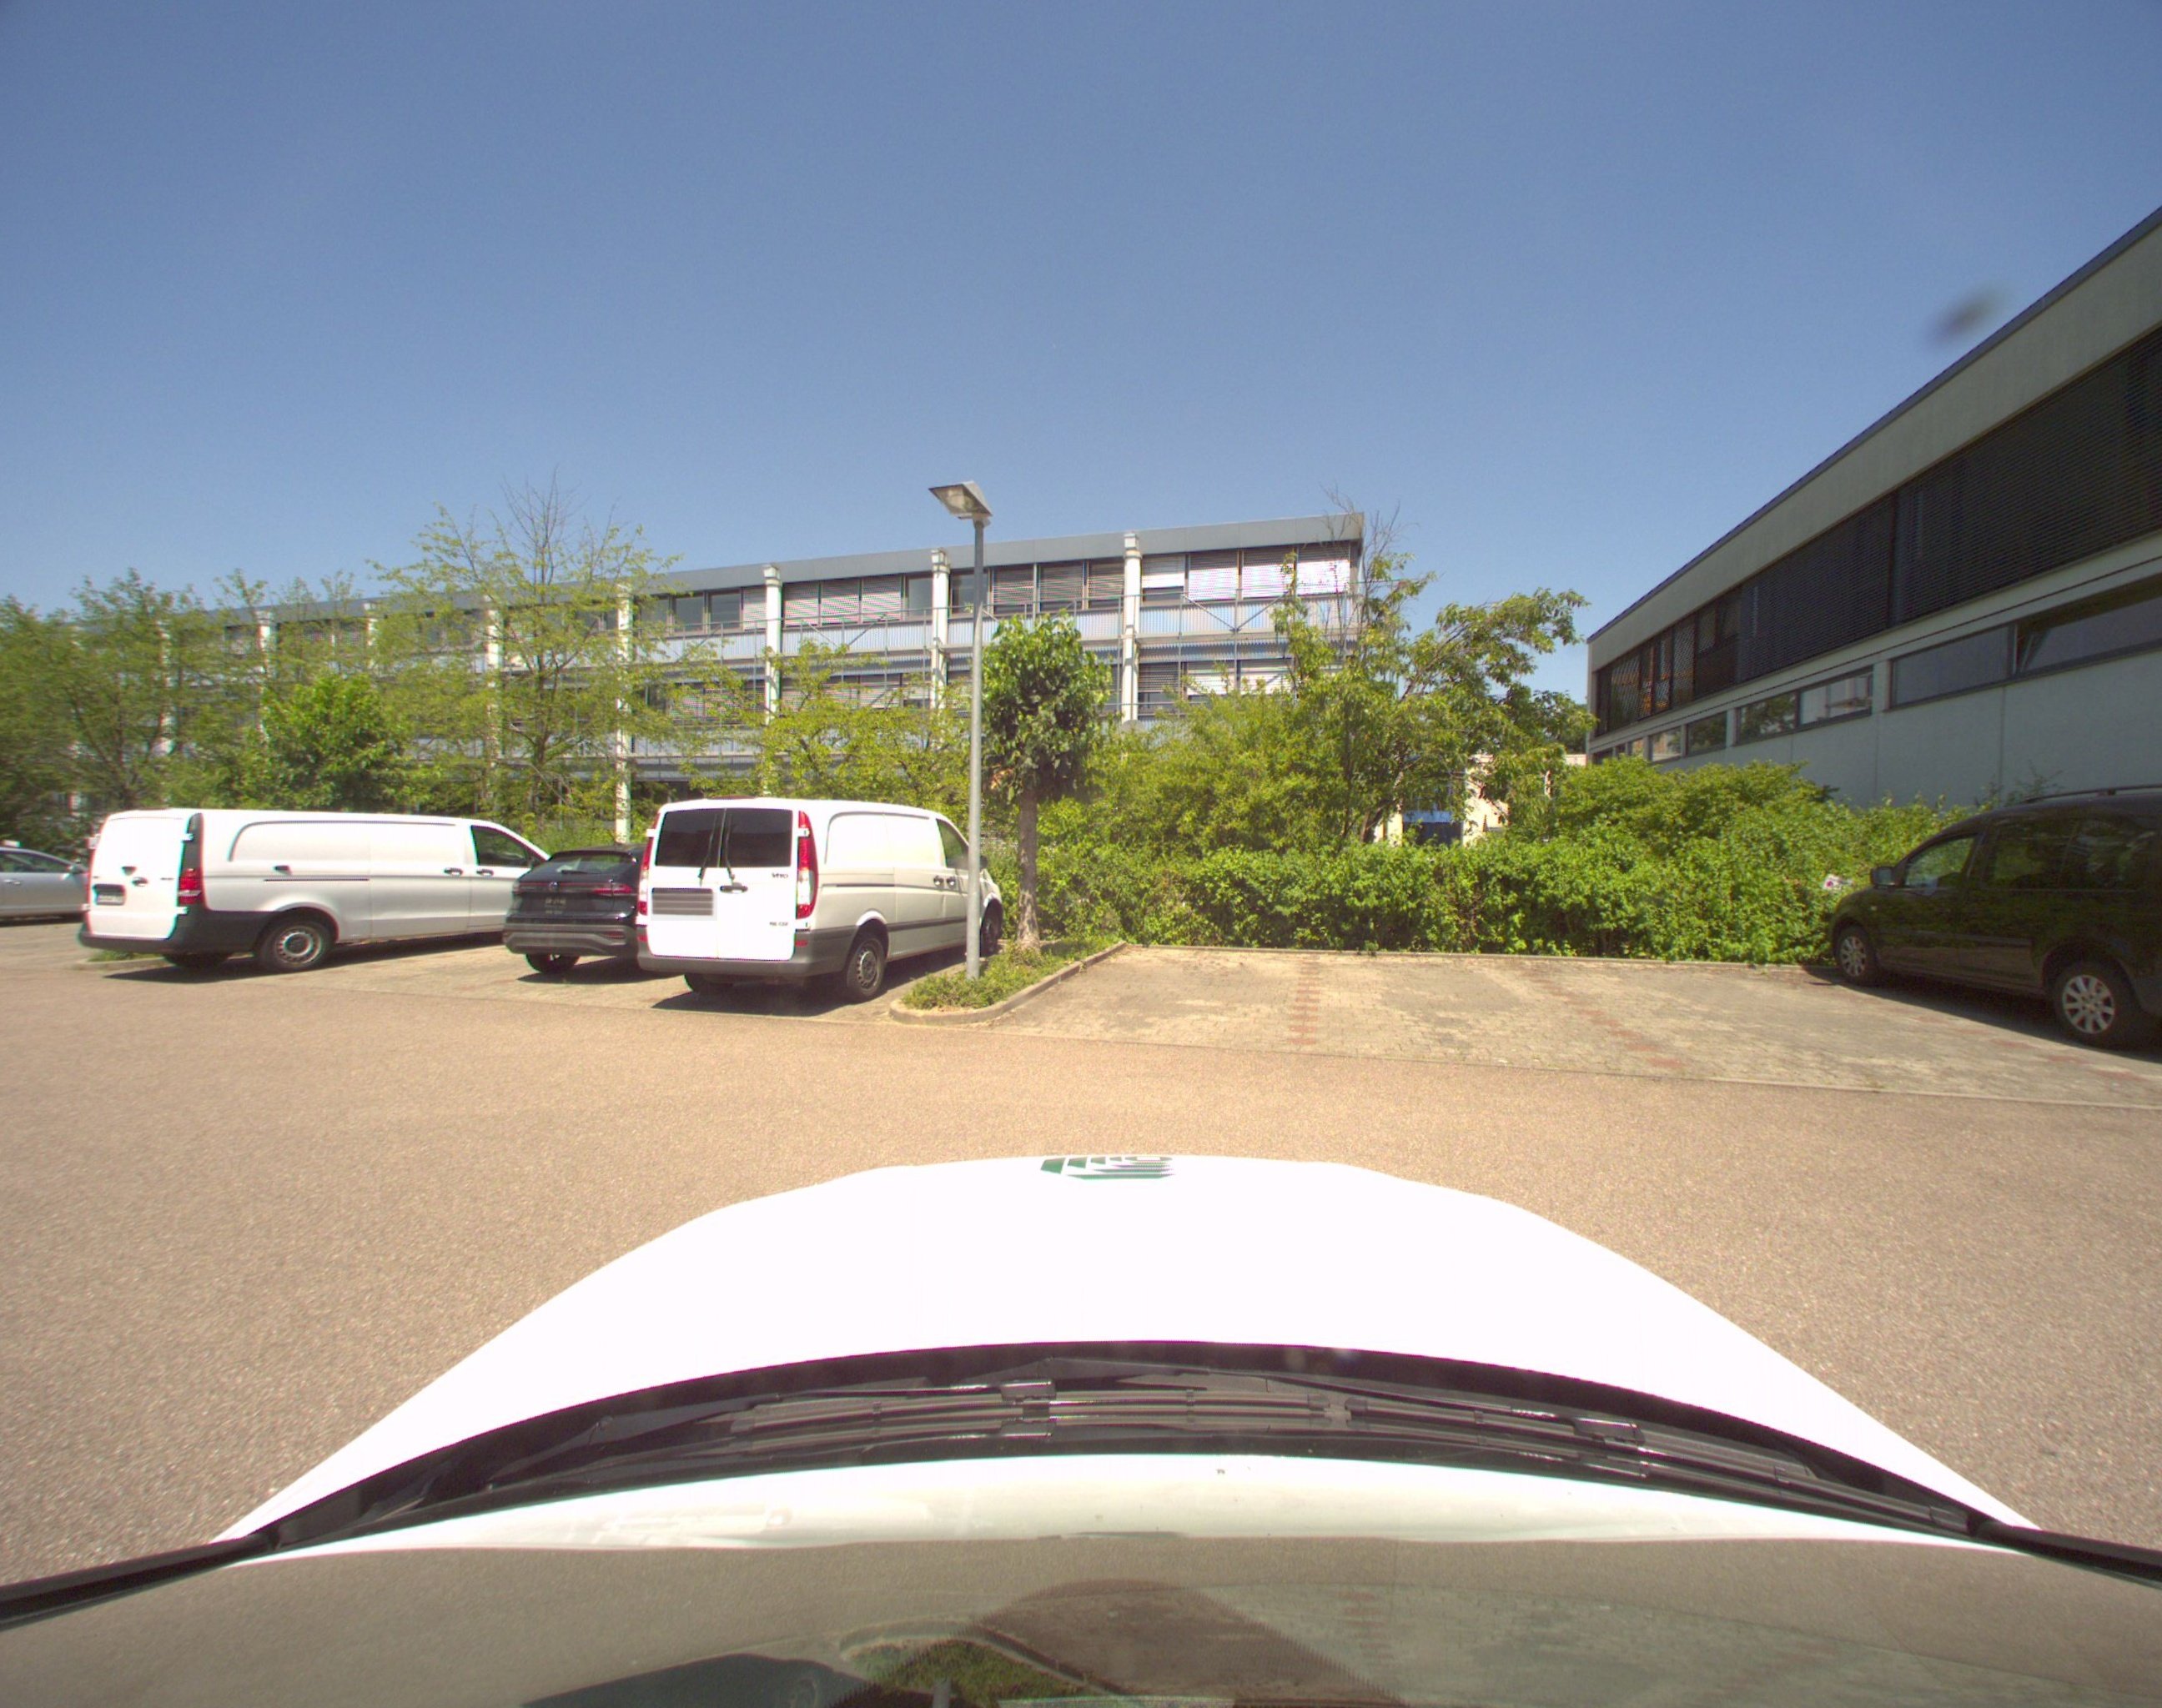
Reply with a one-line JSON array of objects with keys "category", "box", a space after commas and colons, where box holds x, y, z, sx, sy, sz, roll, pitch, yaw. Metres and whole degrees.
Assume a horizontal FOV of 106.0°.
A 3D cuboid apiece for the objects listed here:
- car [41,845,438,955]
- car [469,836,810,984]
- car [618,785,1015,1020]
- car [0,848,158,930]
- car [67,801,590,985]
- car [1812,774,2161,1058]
[{"category": "car", "box": [-13.061, 0.593, 13.027, 1.768, 1.441, 4.019, 0, 1, 18]}, {"category": "car", "box": [-5.171, 0.533, 10.271, 1.745, 1.476, 4.008, 0, 1, 7]}, {"category": "car", "box": [-2.466, 0.345, 9.170, 1.899, 1.905, 4.828, 0, 1, 15]}, {"category": "car", "box": [-19.846, 0.619, 14.429, 1.852, 1.406, 4.190, 0, 1, 19]}, {"category": "car", "box": [-9.460, 0.342, 10.945, 1.867, 1.891, 4.826, 0, 1, 17]}, {"category": "car", "box": [8.318, 0.374, 6.782, 1.730, 1.837, 4.017, 0, 1, 16]}]
